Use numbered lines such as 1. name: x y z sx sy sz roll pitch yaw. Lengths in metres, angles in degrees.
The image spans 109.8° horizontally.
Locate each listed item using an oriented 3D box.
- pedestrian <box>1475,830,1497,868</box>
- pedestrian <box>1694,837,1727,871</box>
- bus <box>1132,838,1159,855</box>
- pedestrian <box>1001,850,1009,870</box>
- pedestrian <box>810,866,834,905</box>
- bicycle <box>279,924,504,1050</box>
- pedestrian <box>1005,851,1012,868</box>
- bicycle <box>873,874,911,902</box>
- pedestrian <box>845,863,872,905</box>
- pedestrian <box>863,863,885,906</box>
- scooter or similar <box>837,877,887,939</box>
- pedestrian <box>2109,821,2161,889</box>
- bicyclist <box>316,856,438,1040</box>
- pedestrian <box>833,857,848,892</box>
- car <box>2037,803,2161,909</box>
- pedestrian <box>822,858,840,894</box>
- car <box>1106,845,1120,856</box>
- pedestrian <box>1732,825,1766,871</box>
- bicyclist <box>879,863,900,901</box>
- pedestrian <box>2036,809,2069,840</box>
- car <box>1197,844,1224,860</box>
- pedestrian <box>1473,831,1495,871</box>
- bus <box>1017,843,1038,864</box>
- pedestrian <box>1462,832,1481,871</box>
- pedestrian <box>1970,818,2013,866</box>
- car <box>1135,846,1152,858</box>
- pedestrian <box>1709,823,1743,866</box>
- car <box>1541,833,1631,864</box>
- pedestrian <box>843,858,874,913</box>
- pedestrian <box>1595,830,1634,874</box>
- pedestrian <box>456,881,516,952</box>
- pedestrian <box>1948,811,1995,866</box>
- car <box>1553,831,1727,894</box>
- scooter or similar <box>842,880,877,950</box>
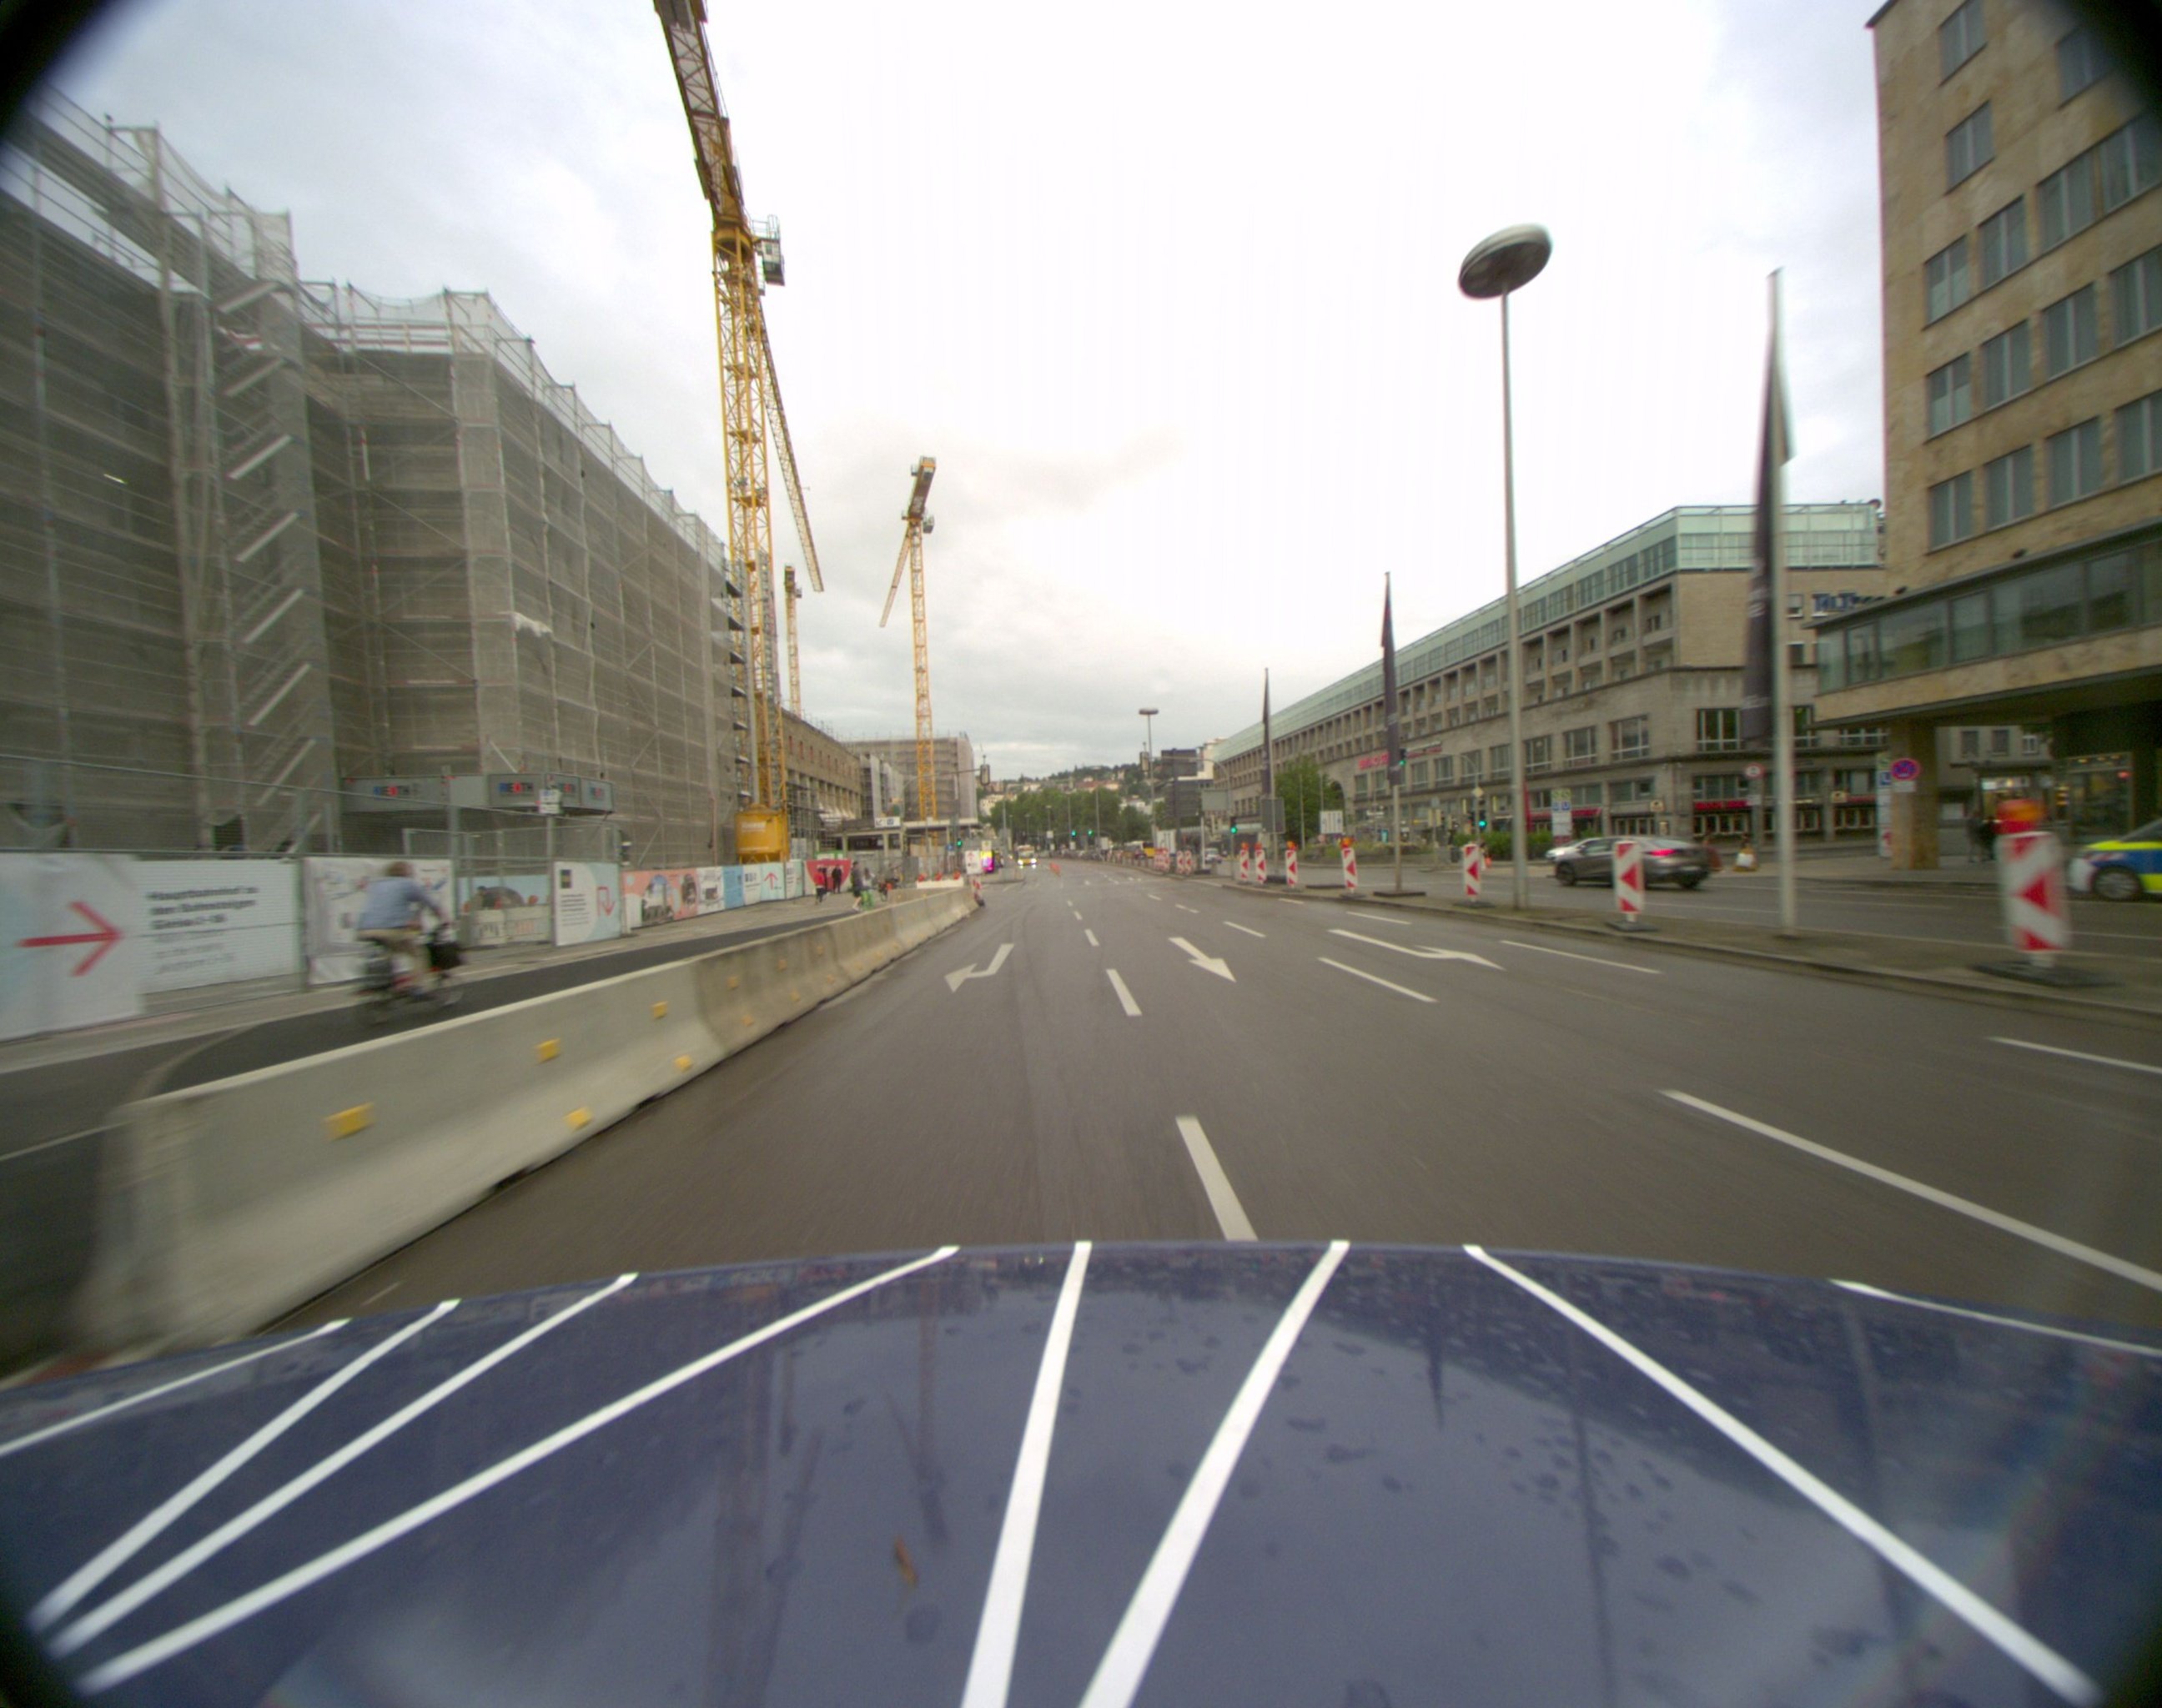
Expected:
1. pedestrian: 21.613 -0.271 40.573 0.705 2.002 0.807 -2 1 -3
2. pedestrian: 23.847 -0.004 28.800 0.564 1.284 0.752 -2 1 -5
3. bus: 11.398 -1.349 135.806 2.910 2.923 9.816 -2 1 -6
4. pedestrian: -7.609 0.583 76.133 0.735 2.002 0.645 -2 1 -9
5. pedestrian: -11.746 1.415 34.480 0.742 1.717 0.714 -2 1 4
6. bicycle: -7.994 1.491 8.967 0.767 1.105 1.981 -2 0 1
7. pedestrian: -7.912 0.629 83.197 0.646 1.813 0.735 -2 1 0
8. bicycle: -8.625 1.547 34.701 0.755 1.127 1.994 -2 1 16
9. pedestrian: -9.515 1.280 32.519 0.815 1.745 0.881 -2 1 1
10. pedestrian: -8.738 1.270 32.095 0.806 1.746 0.814 0 3 -21
11. scooter or similar: -4.963 1.210 17.270 0.492 1.326 1.027 -2 1 24
12. pedestrian: 24.780 0.006 17.562 0.716 1.540 0.957 -2 1 3
13. bicyclist: -8.013 1.040 8.672 0.728 2.002 0.599 -2 1 1
14. pedestrian: -14.059 1.207 44.426 0.629 2.002 0.577 -3 1 -36
15. car: 20.670 -0.004 13.052 1.906 1.917 5.074 -2 -1 -4
16. pedestrian: -14.055 1.248 42.769 0.640 2.002 0.629 -2 1 21
17. car: 5.847 -0.692 138.992 2.037 1.962 3.998 -2 1 -4
18. pedestrian: 24.706 -0.207 28.112 0.564 1.659 0.752 -2 1 -5
19. bicyclist: -8.689 1.258 34.485 0.696 1.695 0.434 -2 1 15
20. pedestrian: 45.482 -1.362 35.565 0.701 1.357 0.601 -5 1 -2
21. car: 13.306 -0.214 78.146 1.759 1.612 3.998 -2 1 -4
22. pedestrian: 19.607 -0.141 37.015 0.591 1.914 0.752 -2 1 -4
23. bus: -8.648 -0.070 121.619 3.000 3.119 7.760 -2 0 -6
24. pedestrian: 19.501 -0.124 37.926 0.715 1.914 0.592 -2 1 37
25. pedestrian: 31.149 -0.423 25.996 0.625 1.600 0.683 -2 1 1
26. car: 9.666 -0.320 118.202 1.887 1.674 3.997 -2 1 -6
27. pedestrian: 24.059 -0.349 28.335 0.666 1.582 0.680 -2 1 -15
28. car: 29.763 -0.322 44.849 4.090 1.630 1.806 -2 1 1
29. pedestrian: -8.447 1.191 28.892 0.788 2.000 0.866 -2 1 6
30. pedestrian: 20.770 -0.082 29.571 0.839 1.609 0.788 -6 1 -14
31. pedestrian: -16.222 1.688 20.733 1.003 1.838 0.675 -2 1 -7
32. pedestrian: 31.364 -0.540 26.757 0.717 1.864 0.772 -2 1 1
33. car: 16.467 0.229 22.726 1.779 1.659 4.499 -1 0 -2
34. scooter or similar: -4.519 1.226 15.547 0.526 1.326 1.024 -2 1 -11
